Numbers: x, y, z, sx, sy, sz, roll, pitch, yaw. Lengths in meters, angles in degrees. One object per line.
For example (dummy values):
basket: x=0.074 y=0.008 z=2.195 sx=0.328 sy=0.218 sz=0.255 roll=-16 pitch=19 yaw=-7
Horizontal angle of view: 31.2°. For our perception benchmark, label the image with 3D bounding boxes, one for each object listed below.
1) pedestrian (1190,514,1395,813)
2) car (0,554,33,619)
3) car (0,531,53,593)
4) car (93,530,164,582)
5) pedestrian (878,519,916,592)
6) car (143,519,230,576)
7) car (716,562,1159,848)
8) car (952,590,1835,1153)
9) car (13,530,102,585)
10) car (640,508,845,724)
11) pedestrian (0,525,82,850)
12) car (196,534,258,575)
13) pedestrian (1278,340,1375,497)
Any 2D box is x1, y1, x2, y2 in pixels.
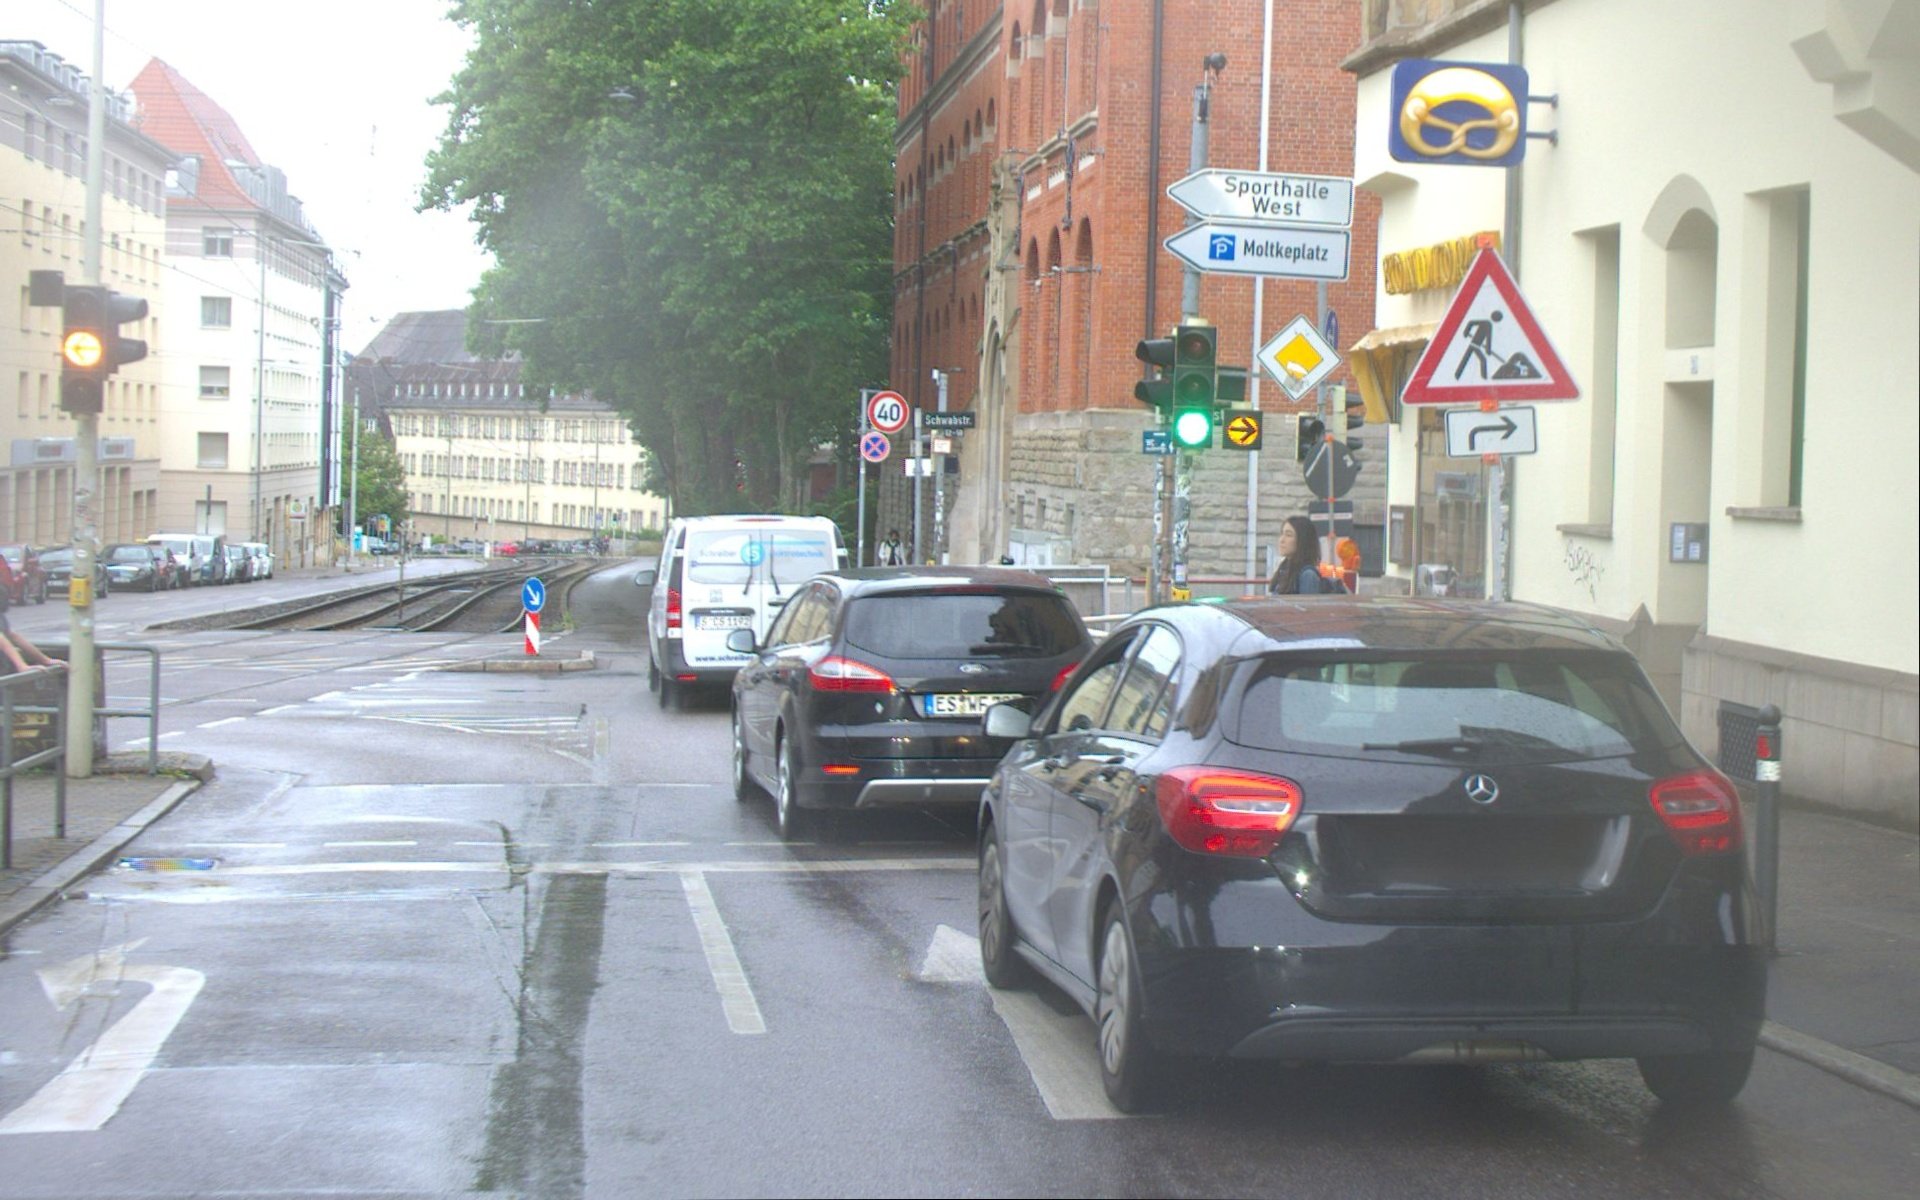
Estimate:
pedestrian: x=1.980 y=0.364 z=20.577 sx=1.016 sy=1.714 sz=0.930 roll=-2 pitch=1 yaw=-4
car: x=-22.665 y=-0.324 z=76.255 sx=1.783 sy=1.429 sz=3.976 roll=2 pitch=1 yaw=28
car: x=-22.898 y=-0.921 z=82.009 sx=1.653 sy=1.446 sz=4.074 roll=1 pitch=1 yaw=-4
car: x=-25.280 y=-1.341 z=104.638 sx=1.851 sy=1.503 sz=4.993 roll=1 pitch=1 yaw=-11
pedestrian: x=-1.459 y=-1.034 z=79.587 sx=0.823 sy=1.673 sz=0.860 roll=1 pitch=0 yaw=-3
car: x=-27.427 y=-1.852 z=122.057 sx=1.993 sy=1.898 sz=5.460 roll=3 pitch=1 yaw=-2
car: x=-0.261 y=0.534 z=20.178 sx=1.933 sy=1.448 sz=4.319 roll=2 pitch=0 yaw=-9
car: x=1.117 y=0.698 z=10.785 sx=1.794 sy=1.370 sz=4.001 roll=2 pitch=0 yaw=-7
car: x=-23.966 y=-1.124 z=91.455 sx=1.679 sy=1.391 sz=4.623 roll=1 pitch=1 yaw=-7
car: x=-2.225 y=0.129 z=34.278 sx=1.740 sy=2.007 sz=3.905 roll=1 pitch=0 yaw=-8
pedestrian: x=-4.945 y=0.424 z=17.410 sx=0.834 sy=1.599 sz=1.002 roll=1 pitch=0 yaw=-8
car: x=-28.060 y=-1.762 z=131.669 sx=1.813 sy=1.494 sz=4.583 roll=2 pitch=1 yaw=-6
pedestrian: x=4.477 y=-2.209 z=42.033 sx=0.958 sy=1.881 sz=1.074 roll=-1 pitch=1 yaw=-6
